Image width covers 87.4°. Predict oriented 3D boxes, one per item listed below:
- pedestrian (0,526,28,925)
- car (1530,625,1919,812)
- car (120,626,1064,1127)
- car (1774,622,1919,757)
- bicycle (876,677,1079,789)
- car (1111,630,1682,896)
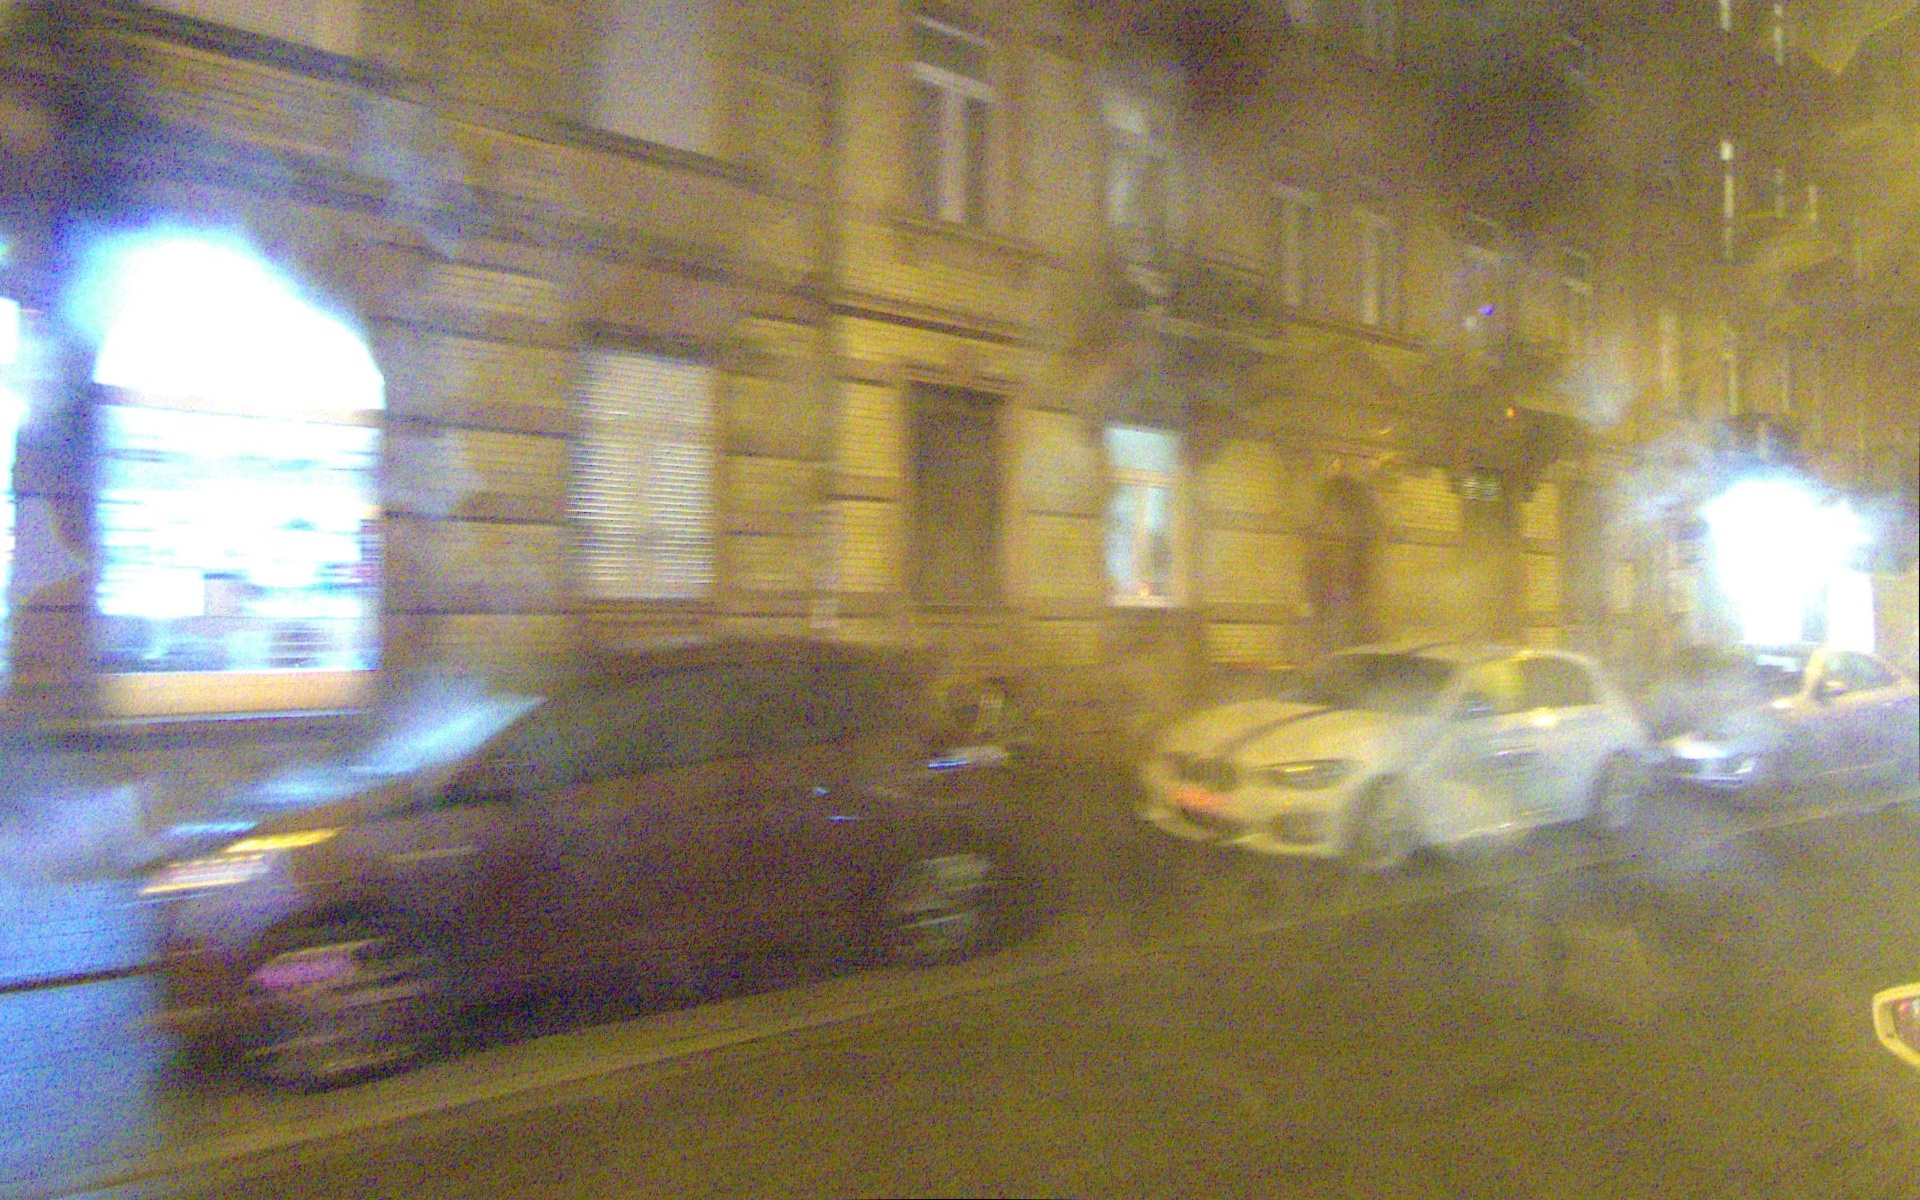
[{"bbox_3d":[-5.197,0.580,4.849,0.970,1.889,1.022,1,0,-42],"label":"pedestrian"},{"bbox_3d":[7.956,1.020,10.130,4.568,1.468,1.745,1,1,-30],"label":"car"},{"bbox_3d":[-1.388,0.864,4.559,3.462,1.468,1.579,1,-1,-30],"label":"car"},{"bbox_3d":[12.271,1.070,12.613,3.955,1.468,1.983,2,0,-32],"label":"car"},{"bbox_3d":[0.202,1.232,9.596,1.991,0.970,0.447,3,-3,-30],"label":"bicycle"},{"bbox_3d":[3.321,0.968,7.423,4.266,1.419,1.682,1,0,-30],"label":"car"}]
